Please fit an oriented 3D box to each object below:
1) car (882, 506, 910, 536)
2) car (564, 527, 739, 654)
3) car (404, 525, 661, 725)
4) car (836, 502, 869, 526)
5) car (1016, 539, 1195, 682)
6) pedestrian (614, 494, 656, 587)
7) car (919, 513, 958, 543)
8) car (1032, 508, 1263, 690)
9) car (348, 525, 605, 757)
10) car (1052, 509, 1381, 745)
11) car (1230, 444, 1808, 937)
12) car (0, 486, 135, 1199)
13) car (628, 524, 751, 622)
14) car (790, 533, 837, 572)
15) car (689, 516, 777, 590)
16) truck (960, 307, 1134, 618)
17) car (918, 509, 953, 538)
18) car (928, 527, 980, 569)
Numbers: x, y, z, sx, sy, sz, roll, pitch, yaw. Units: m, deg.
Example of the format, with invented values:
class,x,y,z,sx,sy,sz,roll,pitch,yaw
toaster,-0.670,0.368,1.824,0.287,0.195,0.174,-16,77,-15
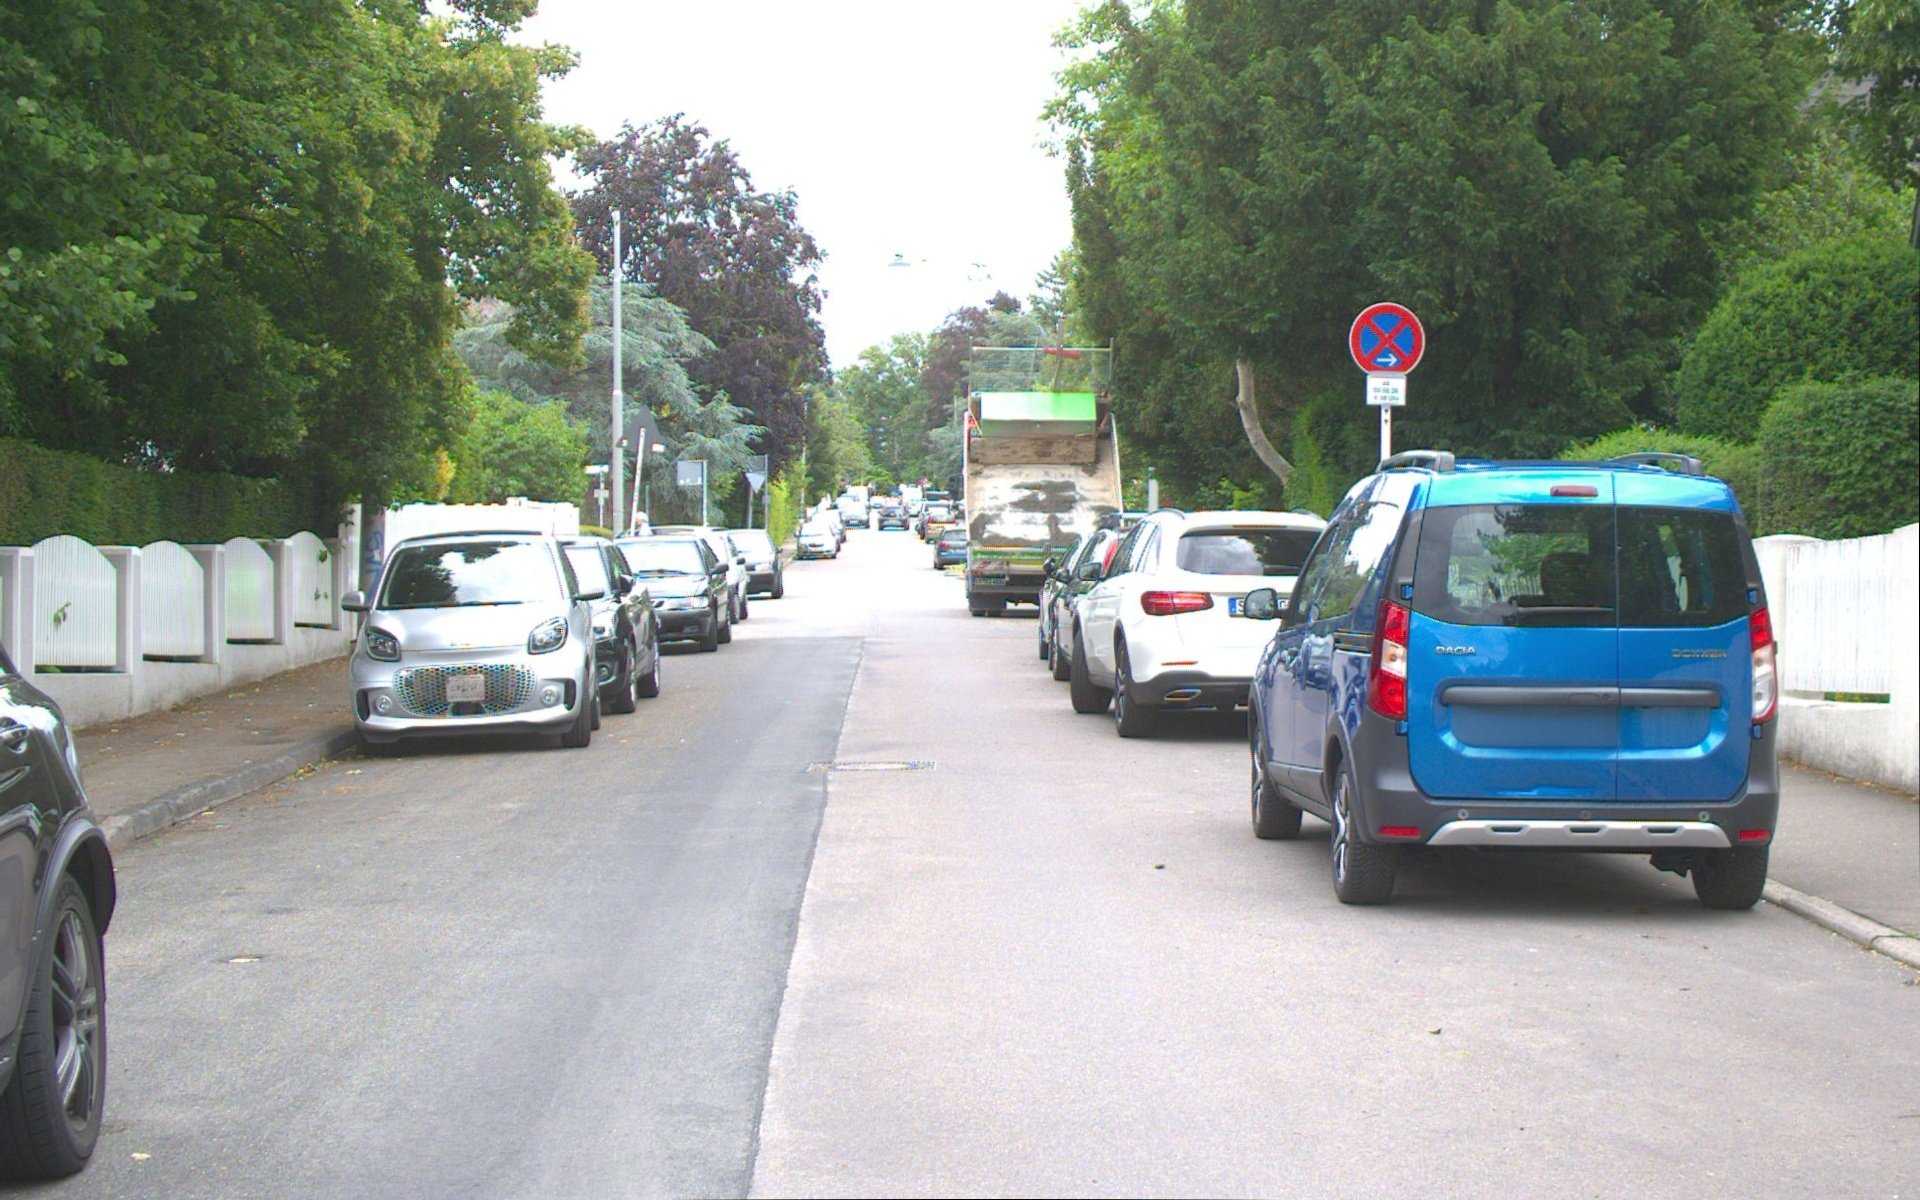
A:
class,x,y,z,sx,sy,sz,roll,pitch,yaw
car,-3.807,-4.682,203.860,1.633,1.695,3.495,1,2,-2
car,-3.770,-0.165,42.695,1.641,1.417,4.550,-2,1,1
car,-3.531,0.156,28.965,1.655,1.476,3.888,-3,2,-1
car,-6.607,-5.269,211.287,1.728,1.402,3.803,0,0,3
car,1.524,0.062,37.528,1.652,1.419,4.661,1,1,-1
pedestrian,-7.144,-1.312,75.624,0.852,2.007,0.701,2,1,-6
car,-1.060,-3.576,169.867,1.810,1.331,3.633,1,2,-2
car,1.683,-0.053,32.112,1.698,1.565,4.309,0,1,-3
car,-3.486,0.252,25.186,1.621,1.528,2.963,-2,2,-4
car,1.835,0.138,26.004,1.757,1.600,4.576,1,1,-5
car,2.289,0.289,15.155,1.682,1.823,4.157,2,2,-2
car,-2.855,0.606,6.403,1.790,1.617,4.344,-1,1,-3
car,-4.235,-0.458,54.272,1.596,1.428,4.000,-2,1,0
car,-6.215,-2.034,146.098,1.711,1.580,4.000,0,1,2
car,-4.562,-0.968,69.494,1.637,1.390,3.989,-2,2,-2
truck,1.329,-2.188,56.390,2.524,4.732,7.188,1,1,-1
car,-1.273,-3.982,178.757,1.789,1.524,3.734,0,1,0
car,-0.234,-1.921,126.330,1.778,1.484,4.001,0,1,-2
